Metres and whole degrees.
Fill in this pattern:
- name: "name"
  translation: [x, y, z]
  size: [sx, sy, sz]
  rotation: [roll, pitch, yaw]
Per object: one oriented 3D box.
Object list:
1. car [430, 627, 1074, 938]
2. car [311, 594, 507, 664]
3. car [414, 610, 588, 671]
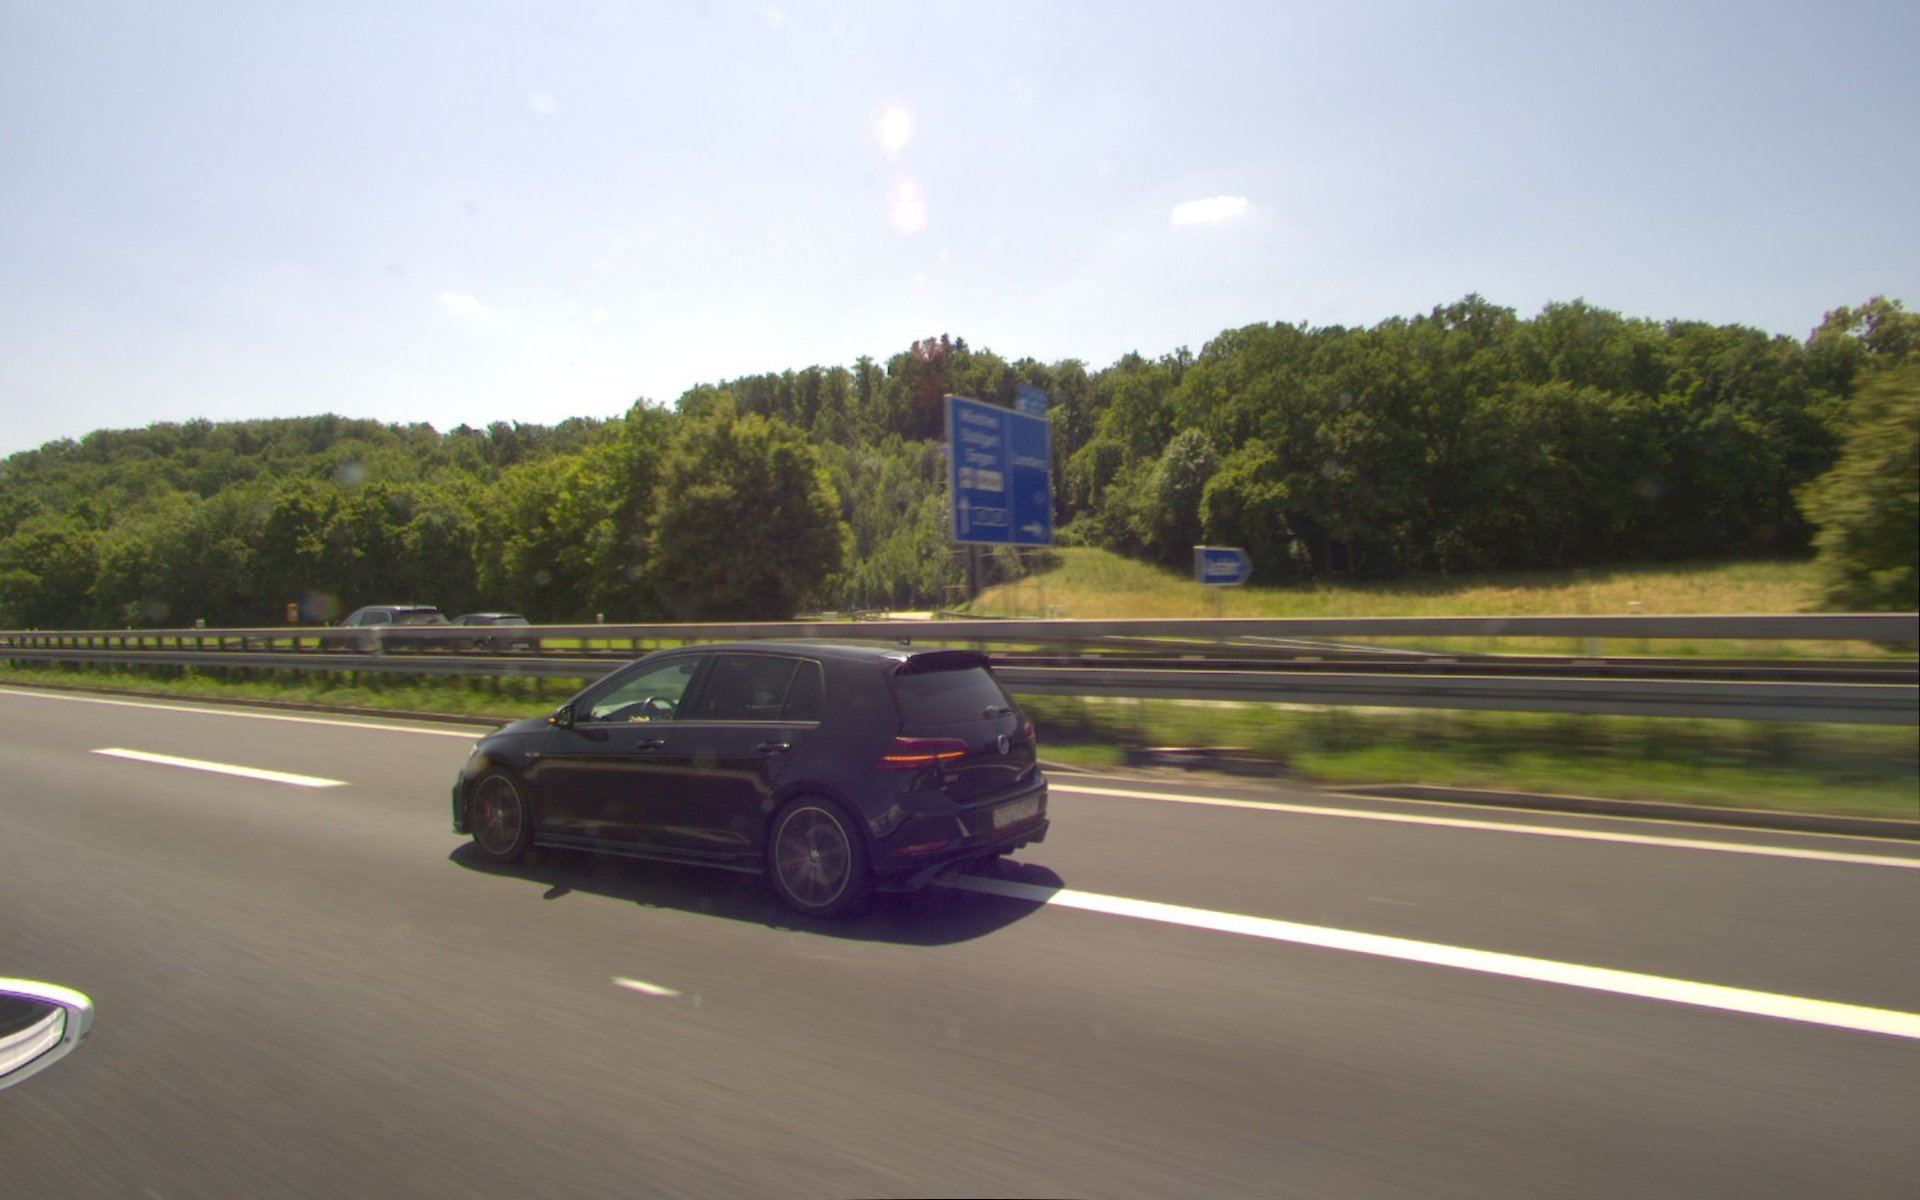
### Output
- name: "car"
  translation: [-1.418, 0.929, 6.508]
  size: [3.907, 1.454, 1.792]
  rotation: [-1, -1, 30]
- name: "car"
  translation: [-14.656, 0.778, 26.543]
  size: [5.542, 1.683, 1.991]
  rotation: [-1, -1, 30]
- name: "car"
  translation: [-13.644, 1.191, 29.713]
  size: [5.147, 1.683, 1.992]
  rotation: [-1, -1, 28]
